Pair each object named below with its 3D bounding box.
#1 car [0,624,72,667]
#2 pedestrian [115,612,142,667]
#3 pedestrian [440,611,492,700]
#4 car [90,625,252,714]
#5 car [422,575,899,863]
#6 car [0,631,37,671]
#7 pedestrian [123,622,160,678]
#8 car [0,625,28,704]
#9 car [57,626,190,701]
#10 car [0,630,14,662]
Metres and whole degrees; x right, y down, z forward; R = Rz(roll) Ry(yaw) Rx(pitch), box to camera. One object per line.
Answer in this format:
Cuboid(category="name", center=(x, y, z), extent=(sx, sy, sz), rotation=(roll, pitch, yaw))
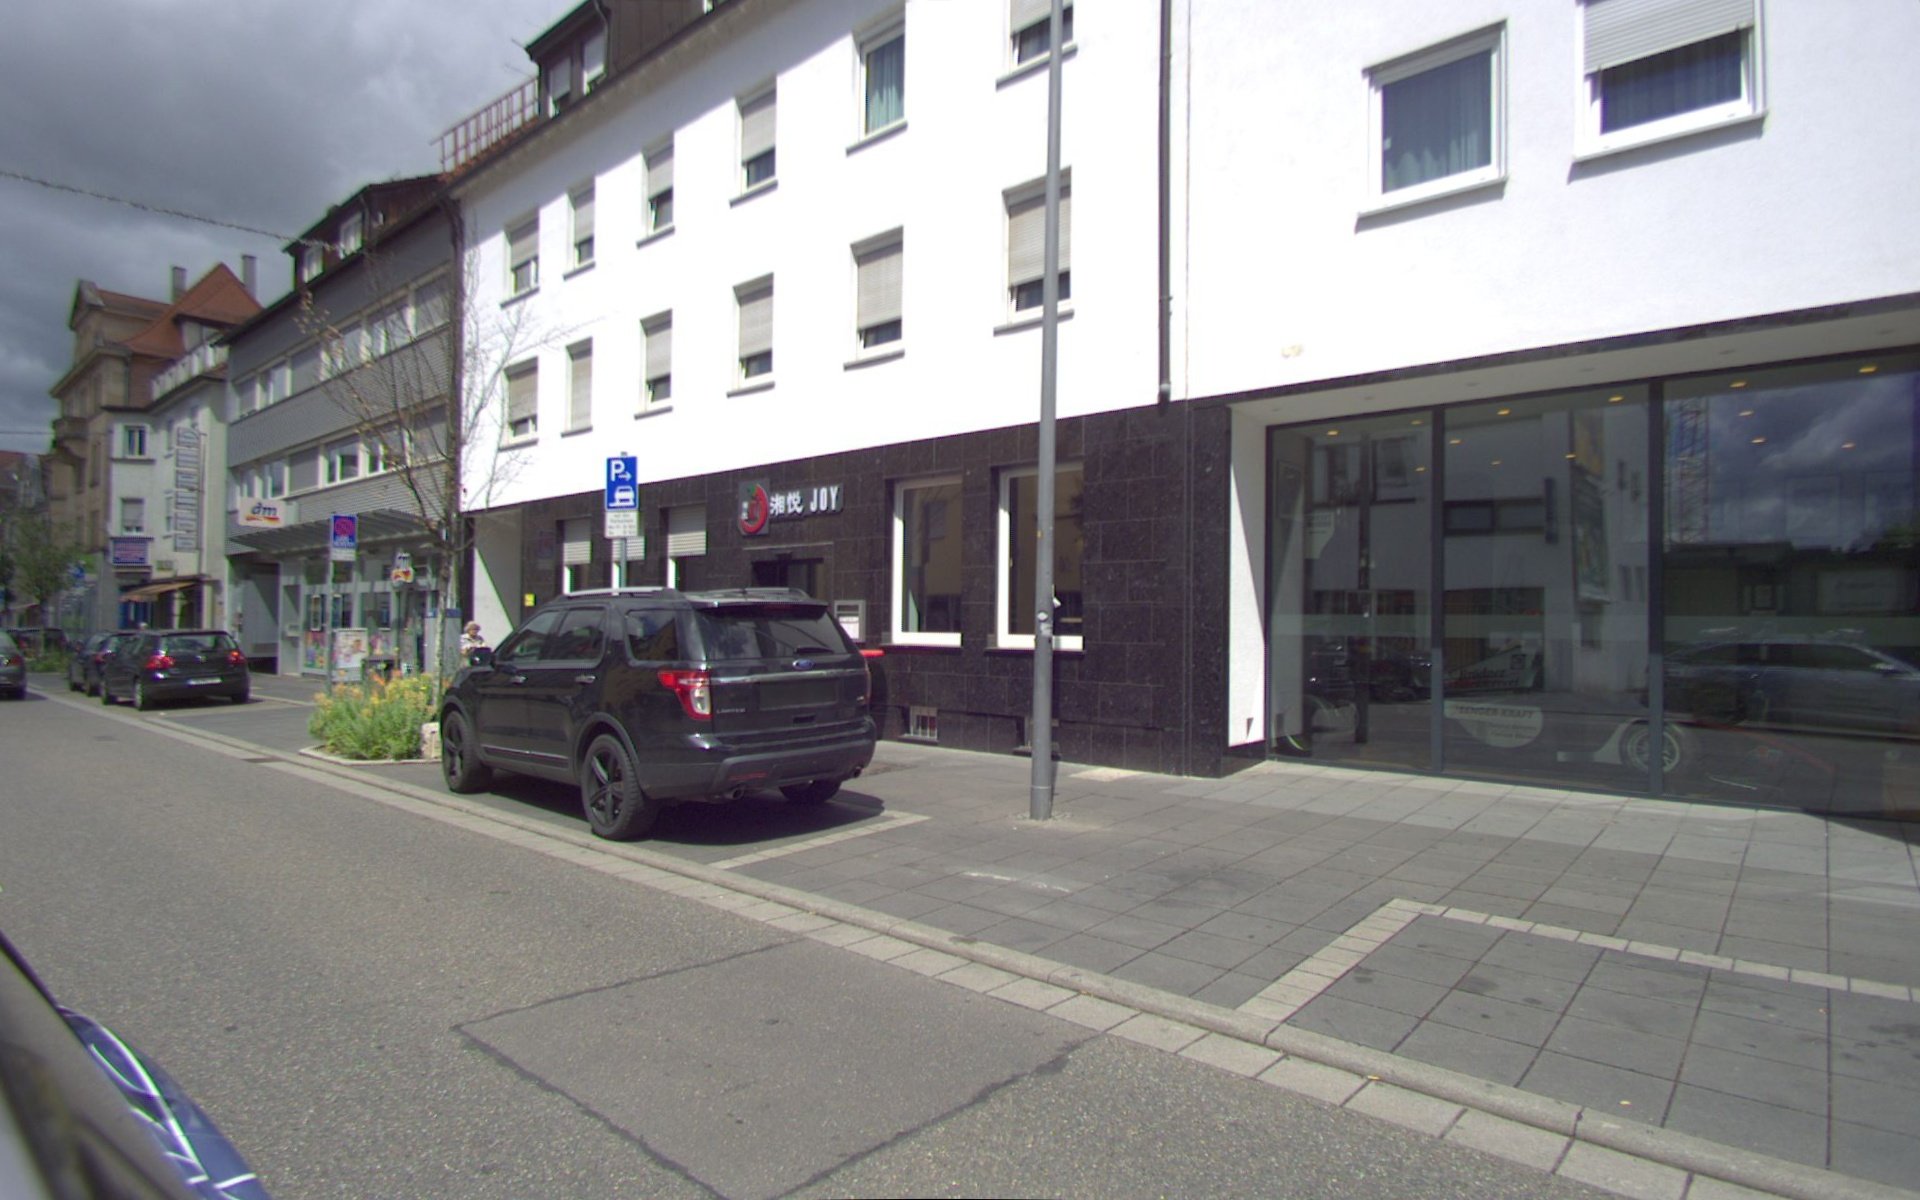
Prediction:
Cuboid(category="car", center=(-33.629, 1.611, 36.469), extent=(3.548, 1.457, 1.583), rotation=(-1, -2, 34))
Cuboid(category="pedestrian", center=(-27.262, 1.272, 33.196), extent=(0.728, 1.770, 0.543), rotation=(-1, 0, 38))
Cuboid(category="pedestrian", center=(-8.456, 0.930, 17.326), extent=(0.563, 1.466, 0.647), rotation=(-1, 0, 42))
Cuboid(category="car", center=(-15.647, 1.286, 20.000), extent=(4.176, 1.515, 1.771), rotation=(-1, 0, 41))
Cuboid(category="car", center=(-2.753, 0.741, 8.519), extent=(4.670, 1.768, 1.796), rotation=(0, 0, 44))
Cuboid(category="car", center=(-37.296, 1.953, 39.498), extent=(3.668, 1.425, 1.569), rotation=(0, 0, 43))
Cuboid(category="pedestrian", center=(-24.275, 1.471, 30.018), extent=(0.650, 1.630, 0.724), rotation=(-1, 0, 36))
Cuboid(category="car", center=(-21.560, 1.299, 21.644), extent=(4.644, 1.575, 1.885), rotation=(0, -4, 42))
Cuboid(category="car", center=(-19.938, 1.422, 24.043), extent=(4.711, 1.524, 1.771), rotation=(0, 0, 42))
Cuboid(category="car", center=(-45.777, 2.157, 47.227), extent=(4.032, 1.408, 1.828), rotation=(0, 0, 39))
